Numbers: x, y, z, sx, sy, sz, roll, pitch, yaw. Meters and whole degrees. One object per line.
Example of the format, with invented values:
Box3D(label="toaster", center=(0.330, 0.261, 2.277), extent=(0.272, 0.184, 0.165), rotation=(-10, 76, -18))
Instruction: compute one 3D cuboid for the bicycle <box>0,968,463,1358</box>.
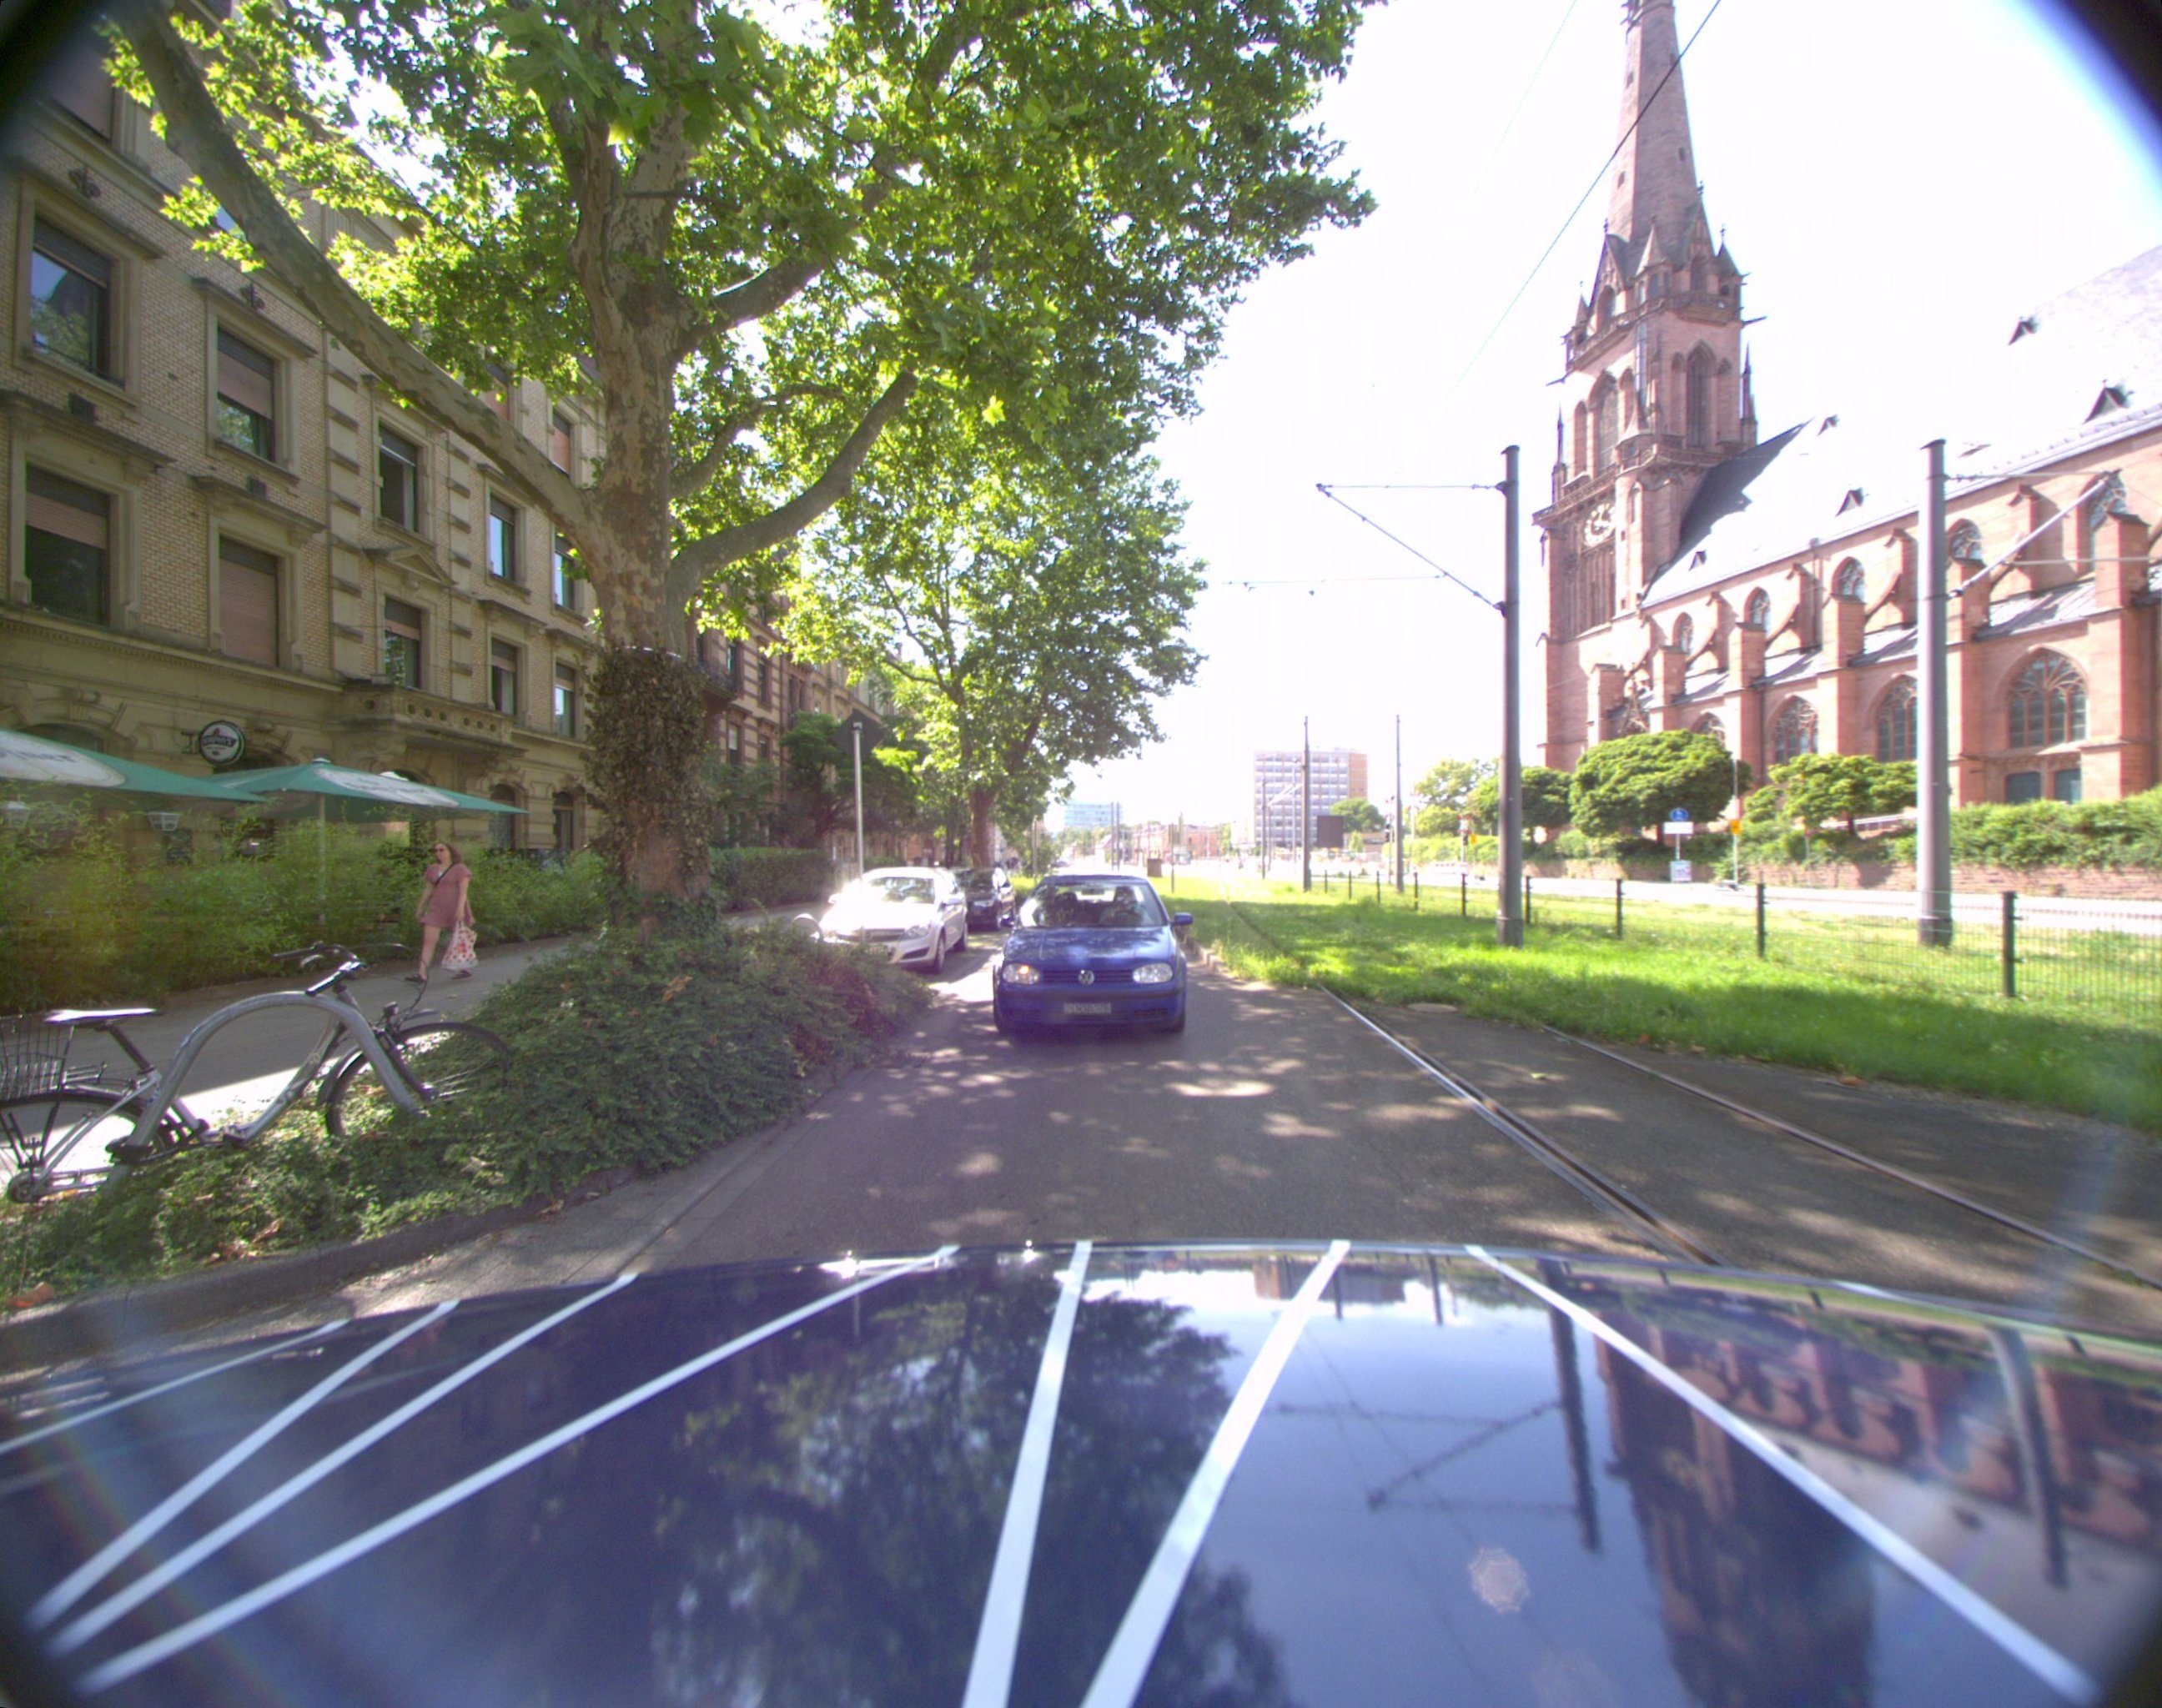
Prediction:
Box3D(label="bicycle", center=(-3.522, 1.117, 2.997), extent=(0.421, 1.099, 1.620), rotation=(0, 0, 31))

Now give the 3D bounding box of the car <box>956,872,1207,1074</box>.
Box3D(label="car", center=(-0.026, 0.967, 7.906), extent=(1.887, 1.401, 4.092), rotation=(-2, 0, -1))

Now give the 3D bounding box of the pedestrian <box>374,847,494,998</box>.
Box3D(label="pedestrian", center=(-8.004, 0.819, 9.440), extent=(0.738, 1.775, 0.852), rotation=(1, 0, 0))

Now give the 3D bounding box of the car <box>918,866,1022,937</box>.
Box3D(label="car", center=(-2.631, 1.096, 19.105), extent=(1.838, 1.499, 4.644), rotation=(0, 0, 1))

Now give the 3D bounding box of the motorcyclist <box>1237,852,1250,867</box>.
Box3D(label="motorcyclist", center=(21.716, 0.704, 101.615), extent=(1.334, 1.919, 1.106), rotation=(-1, 0, -19))

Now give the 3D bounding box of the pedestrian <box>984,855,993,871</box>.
Box3D(label="pedestrian", center=(-9.657, 0.923, 79.480), extent=(0.797, 1.708, 0.968), rotation=(-1, 0, 0))

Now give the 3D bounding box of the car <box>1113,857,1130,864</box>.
Box3D(label="car", center=(10.524, 1.689, 195.349), extent=(3.959, 1.662, 1.827), rotation=(-1, 0, -22))

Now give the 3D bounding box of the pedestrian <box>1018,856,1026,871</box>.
Box3D(label="pedestrian", center=(-6.656, 1.028, 85.197), extent=(0.797, 1.708, 0.968), rotation=(-1, 0, 0))

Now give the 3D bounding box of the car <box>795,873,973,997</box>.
Box3D(label="car", center=(-2.864, 1.099, 12.075), extent=(1.838, 1.499, 4.491), rotation=(0, 0, -3))

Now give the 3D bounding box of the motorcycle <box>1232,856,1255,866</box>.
Box3D(label="motorcycle", center=(21.716, 0.929, 101.626), extent=(1.246, 1.331, 3.931), rotation=(-1, 0, -18))

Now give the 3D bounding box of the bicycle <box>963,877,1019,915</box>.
Box3D(label="bicycle", center=(-2.728, 1.264, 23.174), extent=(1.641, 1.082, 0.470), rotation=(0, 0, -32))

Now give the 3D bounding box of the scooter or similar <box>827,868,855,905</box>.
Box3D(label="scooter or similar", center=(-8.478, 1.136, 26.856), extent=(0.583, 1.240, 1.145), rotation=(0, 0, 1))

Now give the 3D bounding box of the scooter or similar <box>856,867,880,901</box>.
Box3D(label="scooter or similar", center=(-8.281, 1.156, 29.578), extent=(0.583, 1.275, 1.145), rotation=(0, 0, 3))

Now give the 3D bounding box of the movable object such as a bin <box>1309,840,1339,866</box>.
Box3D(label="movable object such as a bin", center=(37.637, -0.136, 117.867), extent=(3.341, 3.859, 2.932), rotation=(0, 0, -33))
